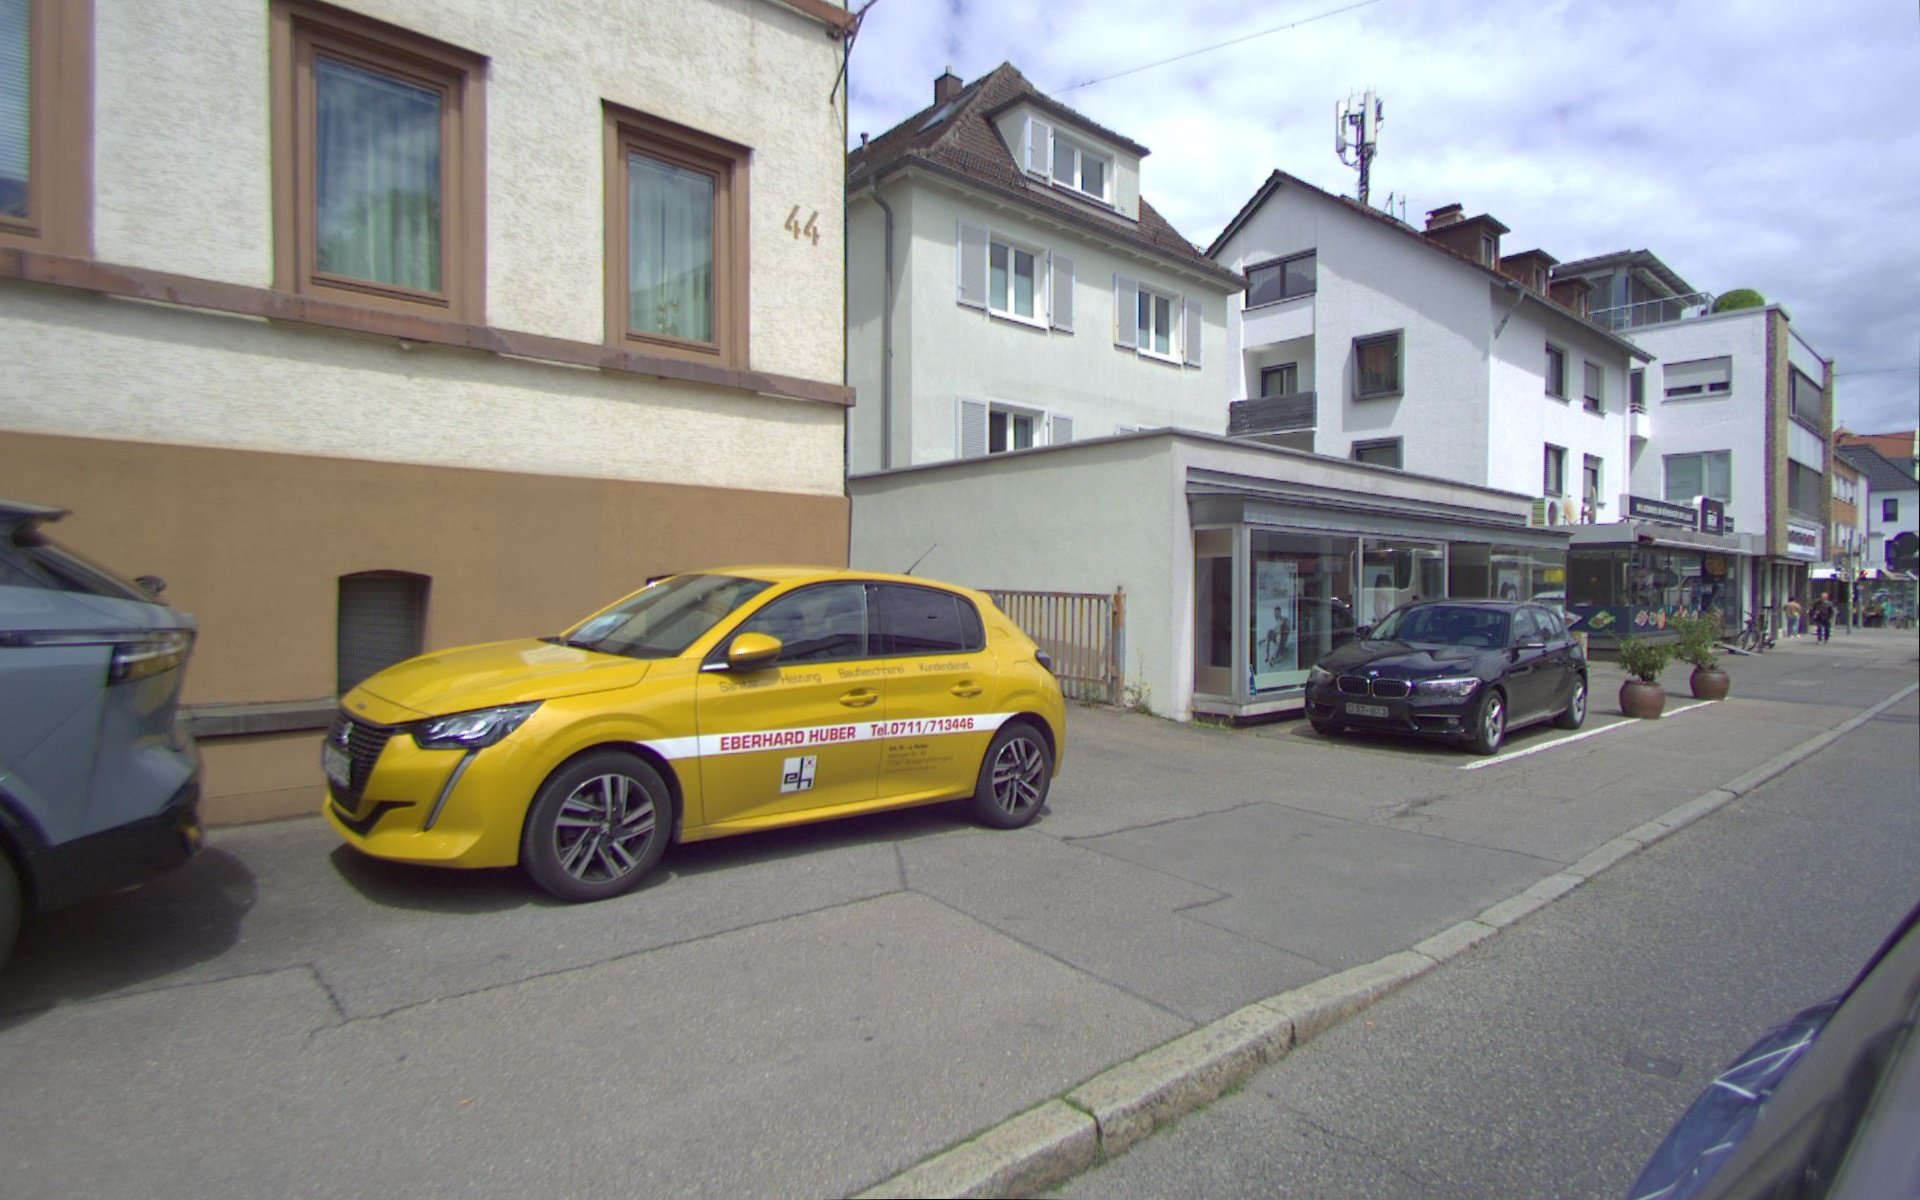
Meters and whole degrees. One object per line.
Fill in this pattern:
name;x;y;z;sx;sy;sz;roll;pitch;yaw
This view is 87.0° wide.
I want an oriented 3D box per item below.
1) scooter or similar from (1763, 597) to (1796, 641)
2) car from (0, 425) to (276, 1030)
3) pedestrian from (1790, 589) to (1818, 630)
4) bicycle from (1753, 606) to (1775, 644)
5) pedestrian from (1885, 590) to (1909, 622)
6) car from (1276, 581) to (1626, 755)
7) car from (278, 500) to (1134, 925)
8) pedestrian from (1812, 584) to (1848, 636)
scooter or similar;25.074;0.573;30.966;0.686;1.283;1.170;1;1;36
car;-4.408;0.311;2.306;4.508;1.632;1.863;0;2;-43
pedestrian;31.310;0.346;37.556;0.707;1.518;0.680;0;1;-42
bicycle;23.138;0.708;29.123;0.474;1.041;1.613;1;1;39
pedestrian;46.813;0.291;50.564;0.804;1.545;0.779;0;1;-39
car;5.429;0.567;10.902;4.460;1.465;1.970;0;1;-44
car;-1.083;0.441;5.653;4.234;1.466;1.879;3;-1;-44
pedestrian;29.221;0.329;33.974;0.793;1.691;0.796;0;1;-42
